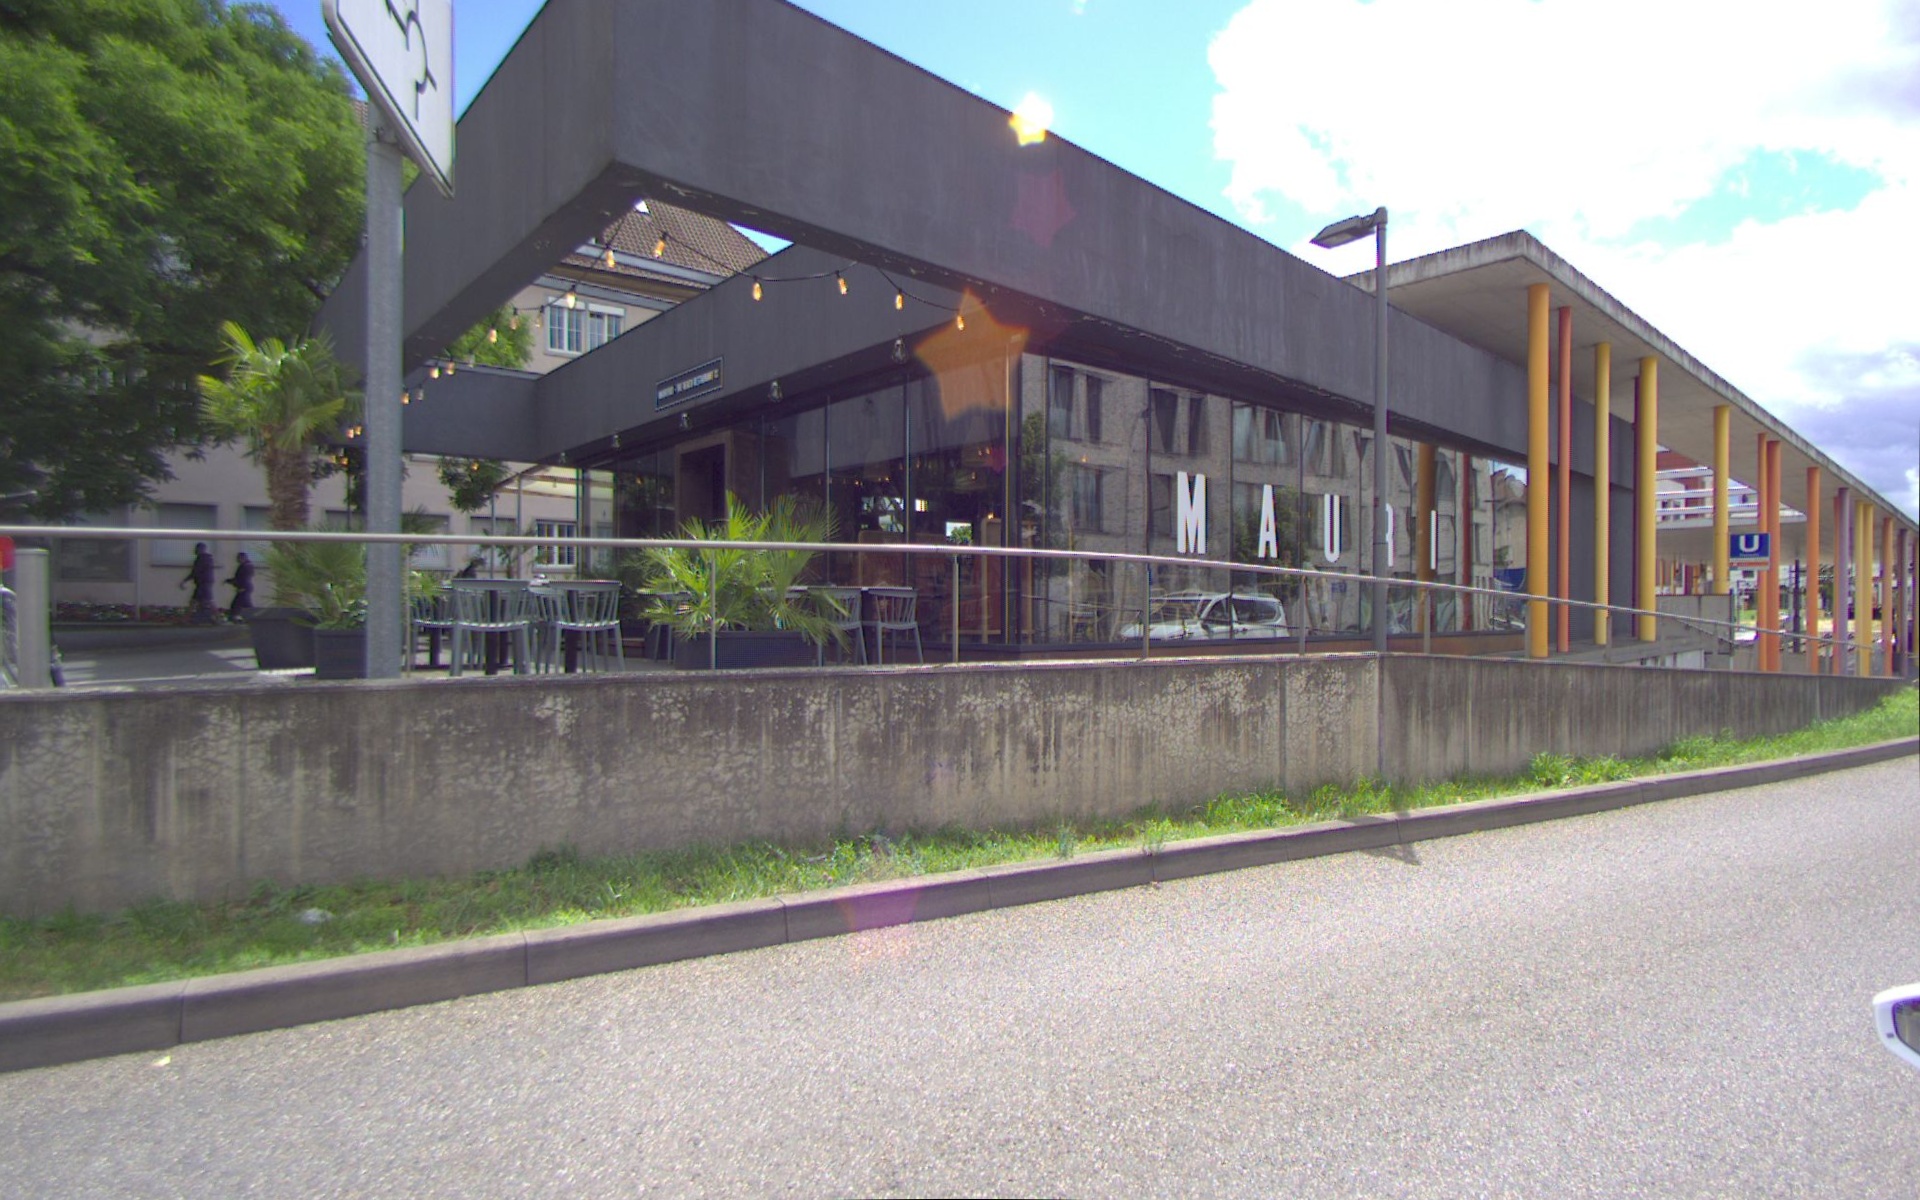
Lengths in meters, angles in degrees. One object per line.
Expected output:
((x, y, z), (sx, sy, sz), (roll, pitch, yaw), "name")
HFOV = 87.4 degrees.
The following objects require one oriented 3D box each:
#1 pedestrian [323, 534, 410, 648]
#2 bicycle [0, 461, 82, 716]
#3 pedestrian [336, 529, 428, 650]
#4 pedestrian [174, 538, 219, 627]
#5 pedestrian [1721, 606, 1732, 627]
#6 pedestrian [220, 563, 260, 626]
((-7.657, -0.104, 12.954), (0.787, 1.397, 0.790), (2, 0, -41), "pedestrian")
((-4.716, -0.049, 4.721), (0.527, 1.142, 1.540), (1, -1, -28), "bicycle")
((-7.012, -0.111, 12.183), (0.787, 1.397, 0.790), (2, 0, -41), "pedestrian")
((-16.103, -0.366, 21.196), (0.586, 1.832, 0.639), (2, 0, -29), "pedestrian")
((66.326, 1.424, 86.923), (0.589, 1.832, 0.636), (2, 0, -42), "pedestrian")
((-16.034, -0.118, 22.378), (0.586, 1.356, 0.639), (2, 0, -29), "pedestrian")
